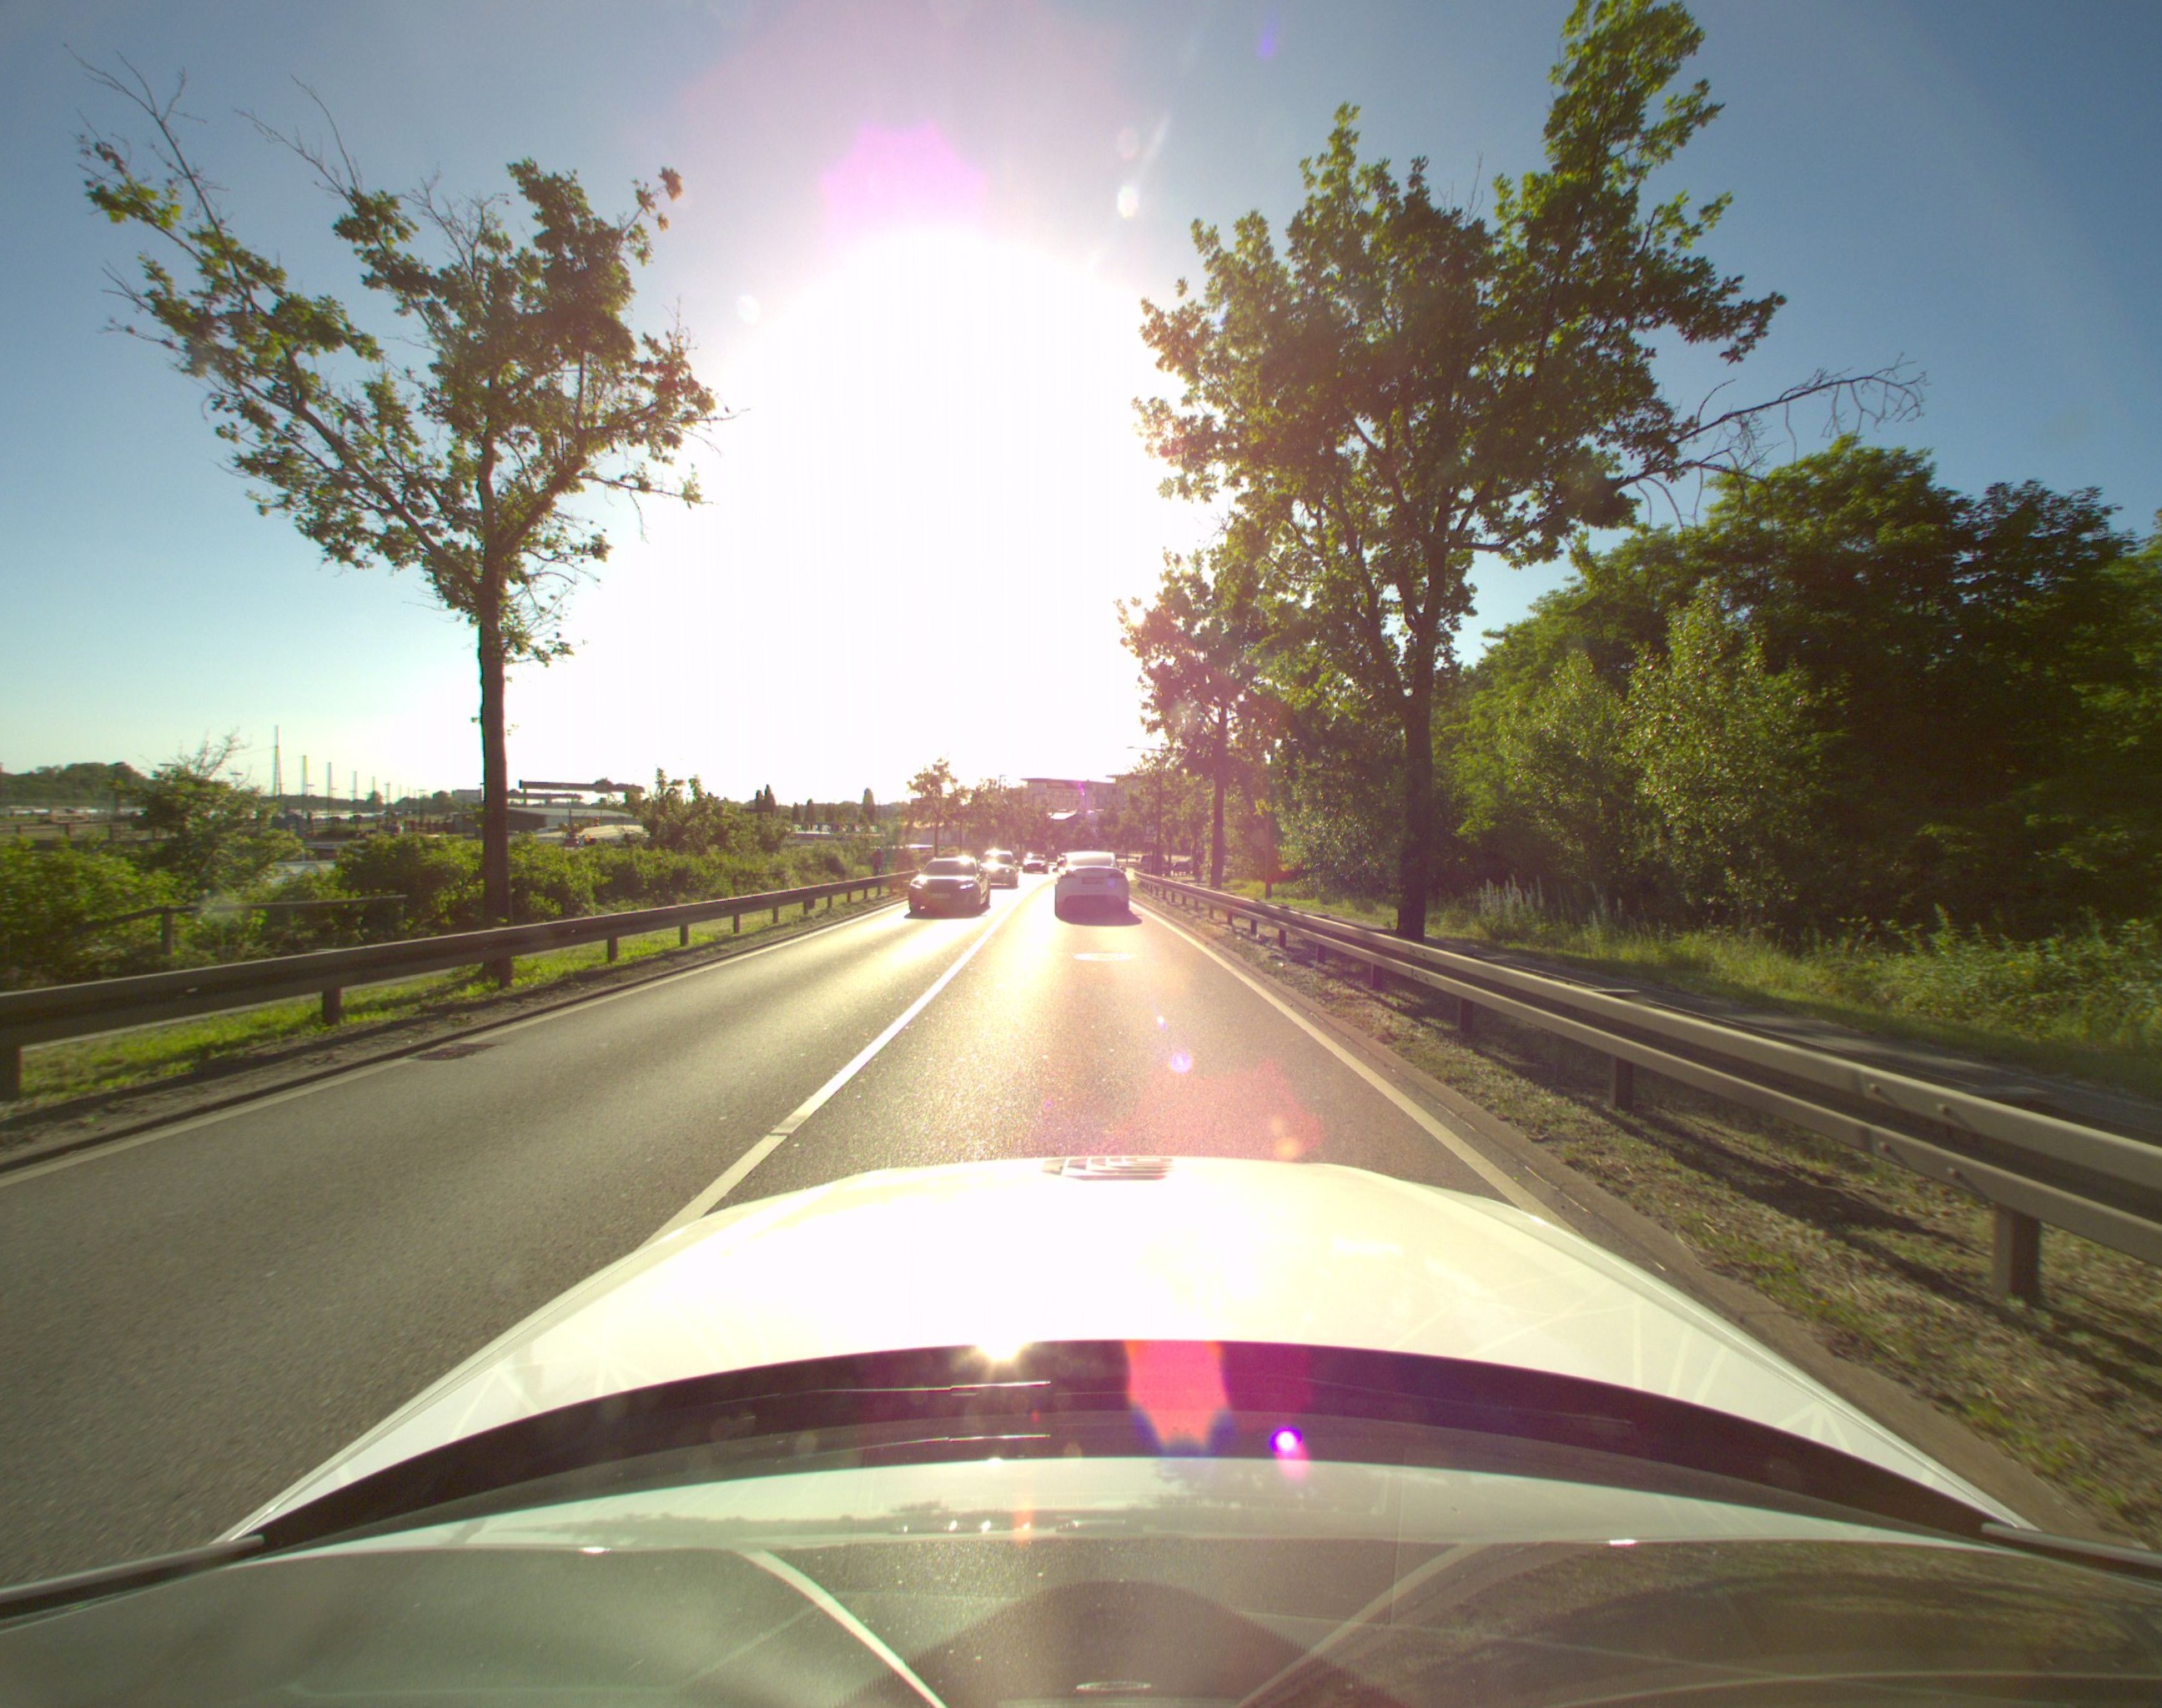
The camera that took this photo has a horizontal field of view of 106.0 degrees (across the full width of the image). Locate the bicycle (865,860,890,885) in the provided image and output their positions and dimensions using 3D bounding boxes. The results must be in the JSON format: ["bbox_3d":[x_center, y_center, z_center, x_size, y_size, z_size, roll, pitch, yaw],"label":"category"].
[{"bbox_3d":[-9.405,0.850,37.717,0.658,1.095,2.107,0,0,-1],"label":"bicycle"}]

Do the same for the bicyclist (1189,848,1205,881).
[{"bbox_3d":[5.765,0.529,40.599,0.702,1.578,1.008,0,-2,13],"label":"bicyclist"}]

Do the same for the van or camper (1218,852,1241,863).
[{"bbox_3d":[25.166,0.613,137.867,1.809,1.790,4.573,4,3,40],"label":"van or camper"}]

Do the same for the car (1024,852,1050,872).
[{"bbox_3d":[-3.386,0.591,63.057,1.685,1.441,4.216,0,0,1],"label":"car"}]

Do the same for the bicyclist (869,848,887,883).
[{"bbox_3d":[-9.409,0.518,37.799,0.649,1.623,0.874,0,0,-2],"label":"bicyclist"}]

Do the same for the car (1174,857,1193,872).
[{"bbox_3d":[11.441,1.187,90.989,1.592,1.434,3.694,3,3,15],"label":"car"}]

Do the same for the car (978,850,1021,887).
[{"bbox_3d":[-3.808,0.624,38.596,1.724,1.658,3.979,0,0,-2],"label":"car"}]

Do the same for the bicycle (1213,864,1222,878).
[{"bbox_3d":[11.533,1.422,68.643,0.691,1.095,2.124,0,0,11],"label":"bicycle"}]

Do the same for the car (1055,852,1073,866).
[{"bbox_3d":[-1.817,0.572,90.127,1.803,1.496,4.370,0,0,1],"label":"car"}]

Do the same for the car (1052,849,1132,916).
[{"bbox_3d":[0.190,0.678,22.069,1.909,1.641,4.406,0,0,-3],"label":"car"}]

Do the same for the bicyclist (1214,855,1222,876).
[{"bbox_3d":[11.526,0.965,68.595,0.671,1.776,0.951,0,0,10],"label":"bicyclist"}]

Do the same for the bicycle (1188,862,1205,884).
[{"bbox_3d":[5.763,0.939,40.543,0.696,1.074,1.928,0,-2,13],"label":"bicycle"}]

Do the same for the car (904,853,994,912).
[{"bbox_3d":[-3.615,0.716,23.183,1.844,1.491,4.714,0,0,-1],"label":"car"}]

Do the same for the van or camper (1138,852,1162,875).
[{"bbox_3d":[6.062,0.805,71.217,1.948,1.884,4.888,0,0,6],"label":"van or camper"}]
